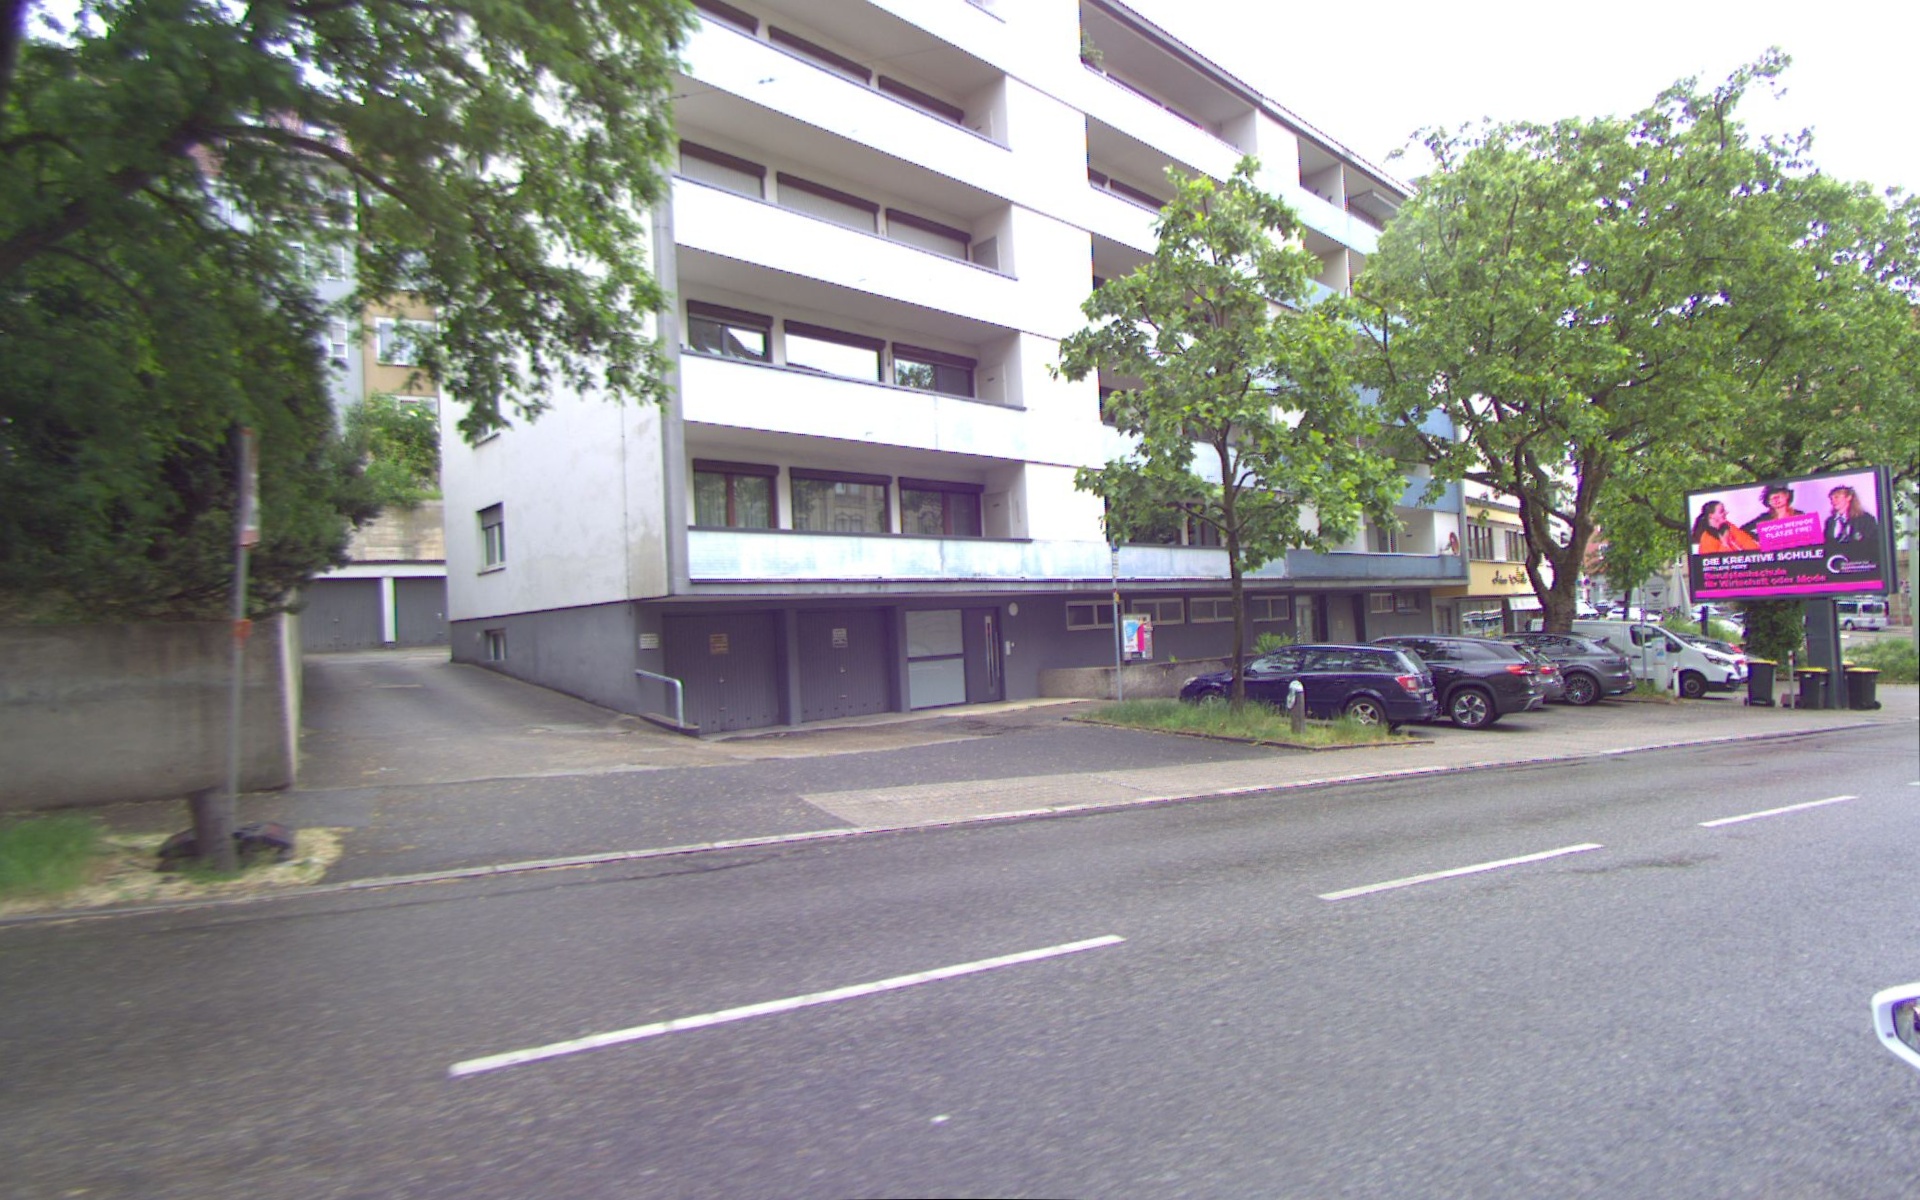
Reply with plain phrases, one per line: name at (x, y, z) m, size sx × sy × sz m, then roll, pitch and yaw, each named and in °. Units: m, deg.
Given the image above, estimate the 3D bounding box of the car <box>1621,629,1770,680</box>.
car at (25.500, 1.843, 34.924) m, size 4.072 × 1.675 × 1.762 m, roll -1°, pitch -2°, yaw 38°

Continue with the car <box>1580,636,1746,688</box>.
car at (21.853, 1.883, 31.310) m, size 4.122 × 1.475 × 1.786 m, roll -1°, pitch -2°, yaw 40°

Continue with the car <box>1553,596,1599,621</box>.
car at (51.363, 0.739, 83.805) m, size 1.545 × 2.040 × 4.001 m, roll 0°, pitch -1°, yaw 2°

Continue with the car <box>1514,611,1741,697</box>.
car at (18.179, 1.420, 27.525) m, size 5.001 × 2.133 × 1.983 m, roll -1°, pitch -2°, yaw 40°

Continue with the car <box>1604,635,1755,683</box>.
car at (23.747, 1.907, 33.213) m, size 3.925 × 1.469 × 1.761 m, roll -1°, pitch -2°, yaw 40°

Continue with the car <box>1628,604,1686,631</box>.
car at (59.645, 1.492, 86.067) m, size 1.961 × 2.130 × 4.291 m, roll -1°, pitch 1°, yaw -1°

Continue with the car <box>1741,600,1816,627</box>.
car at (60.069, 0.982, 73.794) m, size 1.961 × 1.863 × 4.291 m, roll -1°, pitch 1°, yaw -1°

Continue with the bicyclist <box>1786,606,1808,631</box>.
bicyclist at (44.384, 0.997, 53.291) m, size 0.675 × 1.290 × 0.571 m, roll 2°, pitch 0°, yaw 13°

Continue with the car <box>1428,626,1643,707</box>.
car at (14.029, 1.547, 24.611) m, size 4.305 × 1.807 × 1.930 m, roll -1°, pitch -2°, yaw 40°

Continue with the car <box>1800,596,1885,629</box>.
car at (60.177, 0.801, 68.600) m, size 1.961 × 2.130 × 4.291 m, roll -1°, pitch 1°, yaw -1°

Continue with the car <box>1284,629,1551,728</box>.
car at (8.670, 1.445, 19.215) m, size 4.312 × 1.694 × 1.847 m, roll -3°, pitch -3°, yaw 39°

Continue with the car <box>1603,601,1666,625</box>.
car at (51.281, 1.004, 76.474) m, size 1.961 × 1.749 × 4.250 m, roll -2°, pitch -1°, yaw 0°

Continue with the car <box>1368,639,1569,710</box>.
car at (11.565, 1.645, 22.933) m, size 3.870 × 1.449 × 1.742 m, roll -1°, pitch -2°, yaw 36°

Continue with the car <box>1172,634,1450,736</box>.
car at (6.197, 1.449, 17.964) m, size 4.303 × 1.595 × 1.935 m, roll -3°, pitch -3°, yaw 39°

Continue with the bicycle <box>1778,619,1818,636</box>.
bicycle at (44.435, 1.457, 53.278) m, size 1.491 × 0.870 × 0.575 m, roll 2°, pitch 0°, yaw 13°

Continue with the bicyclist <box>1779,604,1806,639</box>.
bicyclist at (44.037, 1.145, 53.146) m, size 0.755 × 1.844 × 0.785 m, roll -1°, pitch -3°, yaw 9°

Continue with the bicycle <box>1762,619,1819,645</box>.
bicycle at (43.950, 1.698, 53.188) m, size 2.229 × 1.337 × 0.674 m, roll -1°, pitch -3°, yaw 10°
